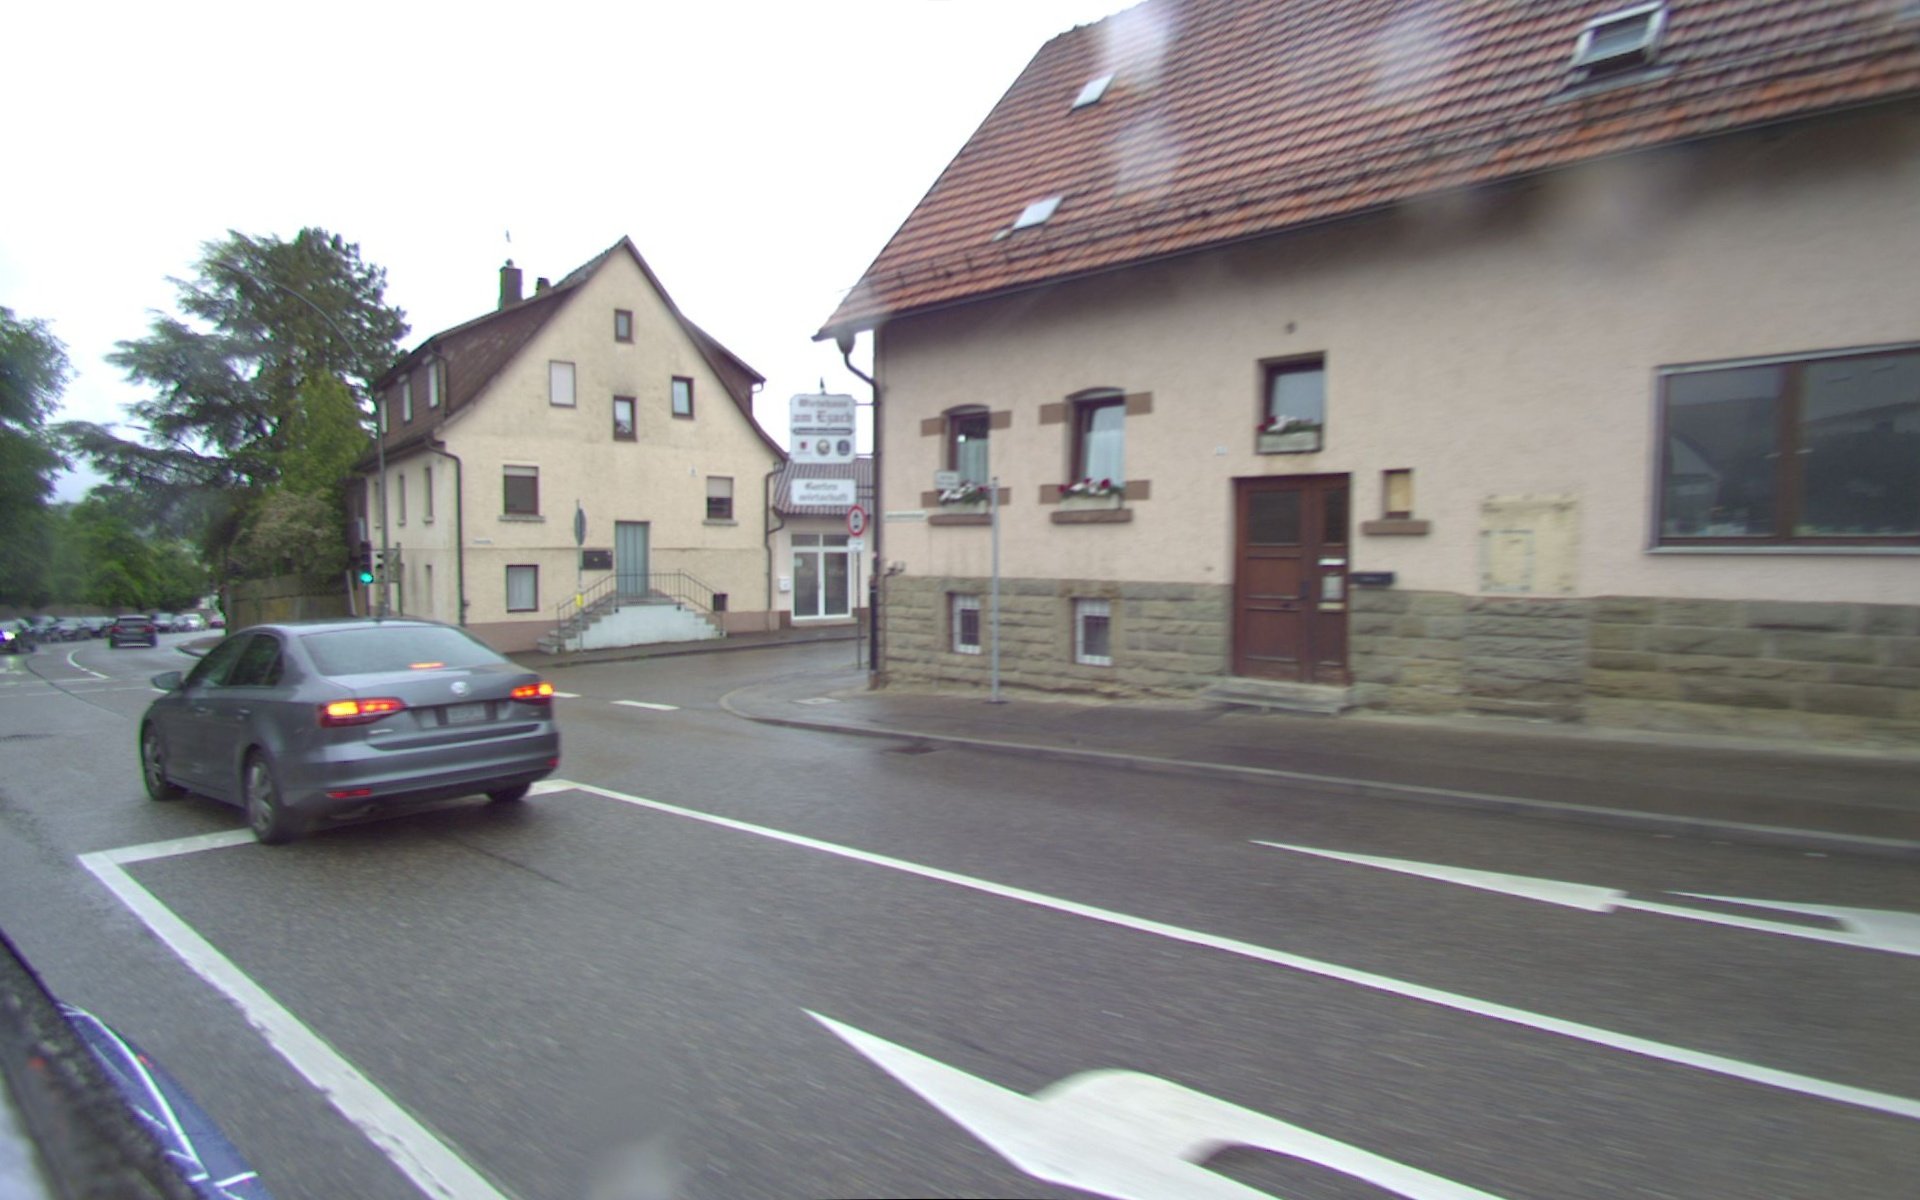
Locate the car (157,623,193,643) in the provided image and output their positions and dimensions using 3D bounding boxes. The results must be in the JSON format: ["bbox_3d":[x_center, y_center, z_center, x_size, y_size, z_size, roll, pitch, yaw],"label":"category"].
[{"bbox_3d":[-69.763,2.913,90.000,1.803,1.642,4.166,0,-1,-27],"label":"car"}]

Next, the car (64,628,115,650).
[{"bbox_3d":[-57.777,2.560,67.234,1.735,1.430,4.166,0,-1,-28],"label":"car"}]

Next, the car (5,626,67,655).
[{"bbox_3d":[-52.353,2.279,57.415,1.765,1.544,3.812,0,-1,-29],"label":"car"}]

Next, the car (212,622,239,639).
[{"bbox_3d":[-83.310,3.403,114.829,1.917,1.807,4.199,0,-1,-28],"label":"car"}]

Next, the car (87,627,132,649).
[{"bbox_3d":[-60.399,2.678,71.898,1.735,1.430,4.166,0,-1,-30],"label":"car"}]

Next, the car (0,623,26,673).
[{"bbox_3d":[-41.954,2.069,43.673,1.968,2.029,4.009,-1,1,-37],"label":"car"}]

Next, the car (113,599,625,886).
[{"bbox_3d":[-4.632,0.841,7.703,4.219,1.586,1.926,-2,-1,38],"label":"car"}]

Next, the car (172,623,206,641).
[{"bbox_3d":[-72.714,3.007,95.483,1.803,1.642,4.166,0,-1,-27],"label":"car"}]

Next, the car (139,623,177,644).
[{"bbox_3d":[-66.845,2.766,84.420,1.803,1.642,4.166,0,-1,-29],"label":"car"}]

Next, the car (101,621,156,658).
[{"bbox_3d":[-41.376,1.918,50.439,1.968,1.719,4.009,-1,-1,-37],"label":"car"}]

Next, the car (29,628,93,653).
[{"bbox_3d":[-55.103,2.446,62.102,1.966,1.430,4.498,0,-1,-29],"label":"car"}]
